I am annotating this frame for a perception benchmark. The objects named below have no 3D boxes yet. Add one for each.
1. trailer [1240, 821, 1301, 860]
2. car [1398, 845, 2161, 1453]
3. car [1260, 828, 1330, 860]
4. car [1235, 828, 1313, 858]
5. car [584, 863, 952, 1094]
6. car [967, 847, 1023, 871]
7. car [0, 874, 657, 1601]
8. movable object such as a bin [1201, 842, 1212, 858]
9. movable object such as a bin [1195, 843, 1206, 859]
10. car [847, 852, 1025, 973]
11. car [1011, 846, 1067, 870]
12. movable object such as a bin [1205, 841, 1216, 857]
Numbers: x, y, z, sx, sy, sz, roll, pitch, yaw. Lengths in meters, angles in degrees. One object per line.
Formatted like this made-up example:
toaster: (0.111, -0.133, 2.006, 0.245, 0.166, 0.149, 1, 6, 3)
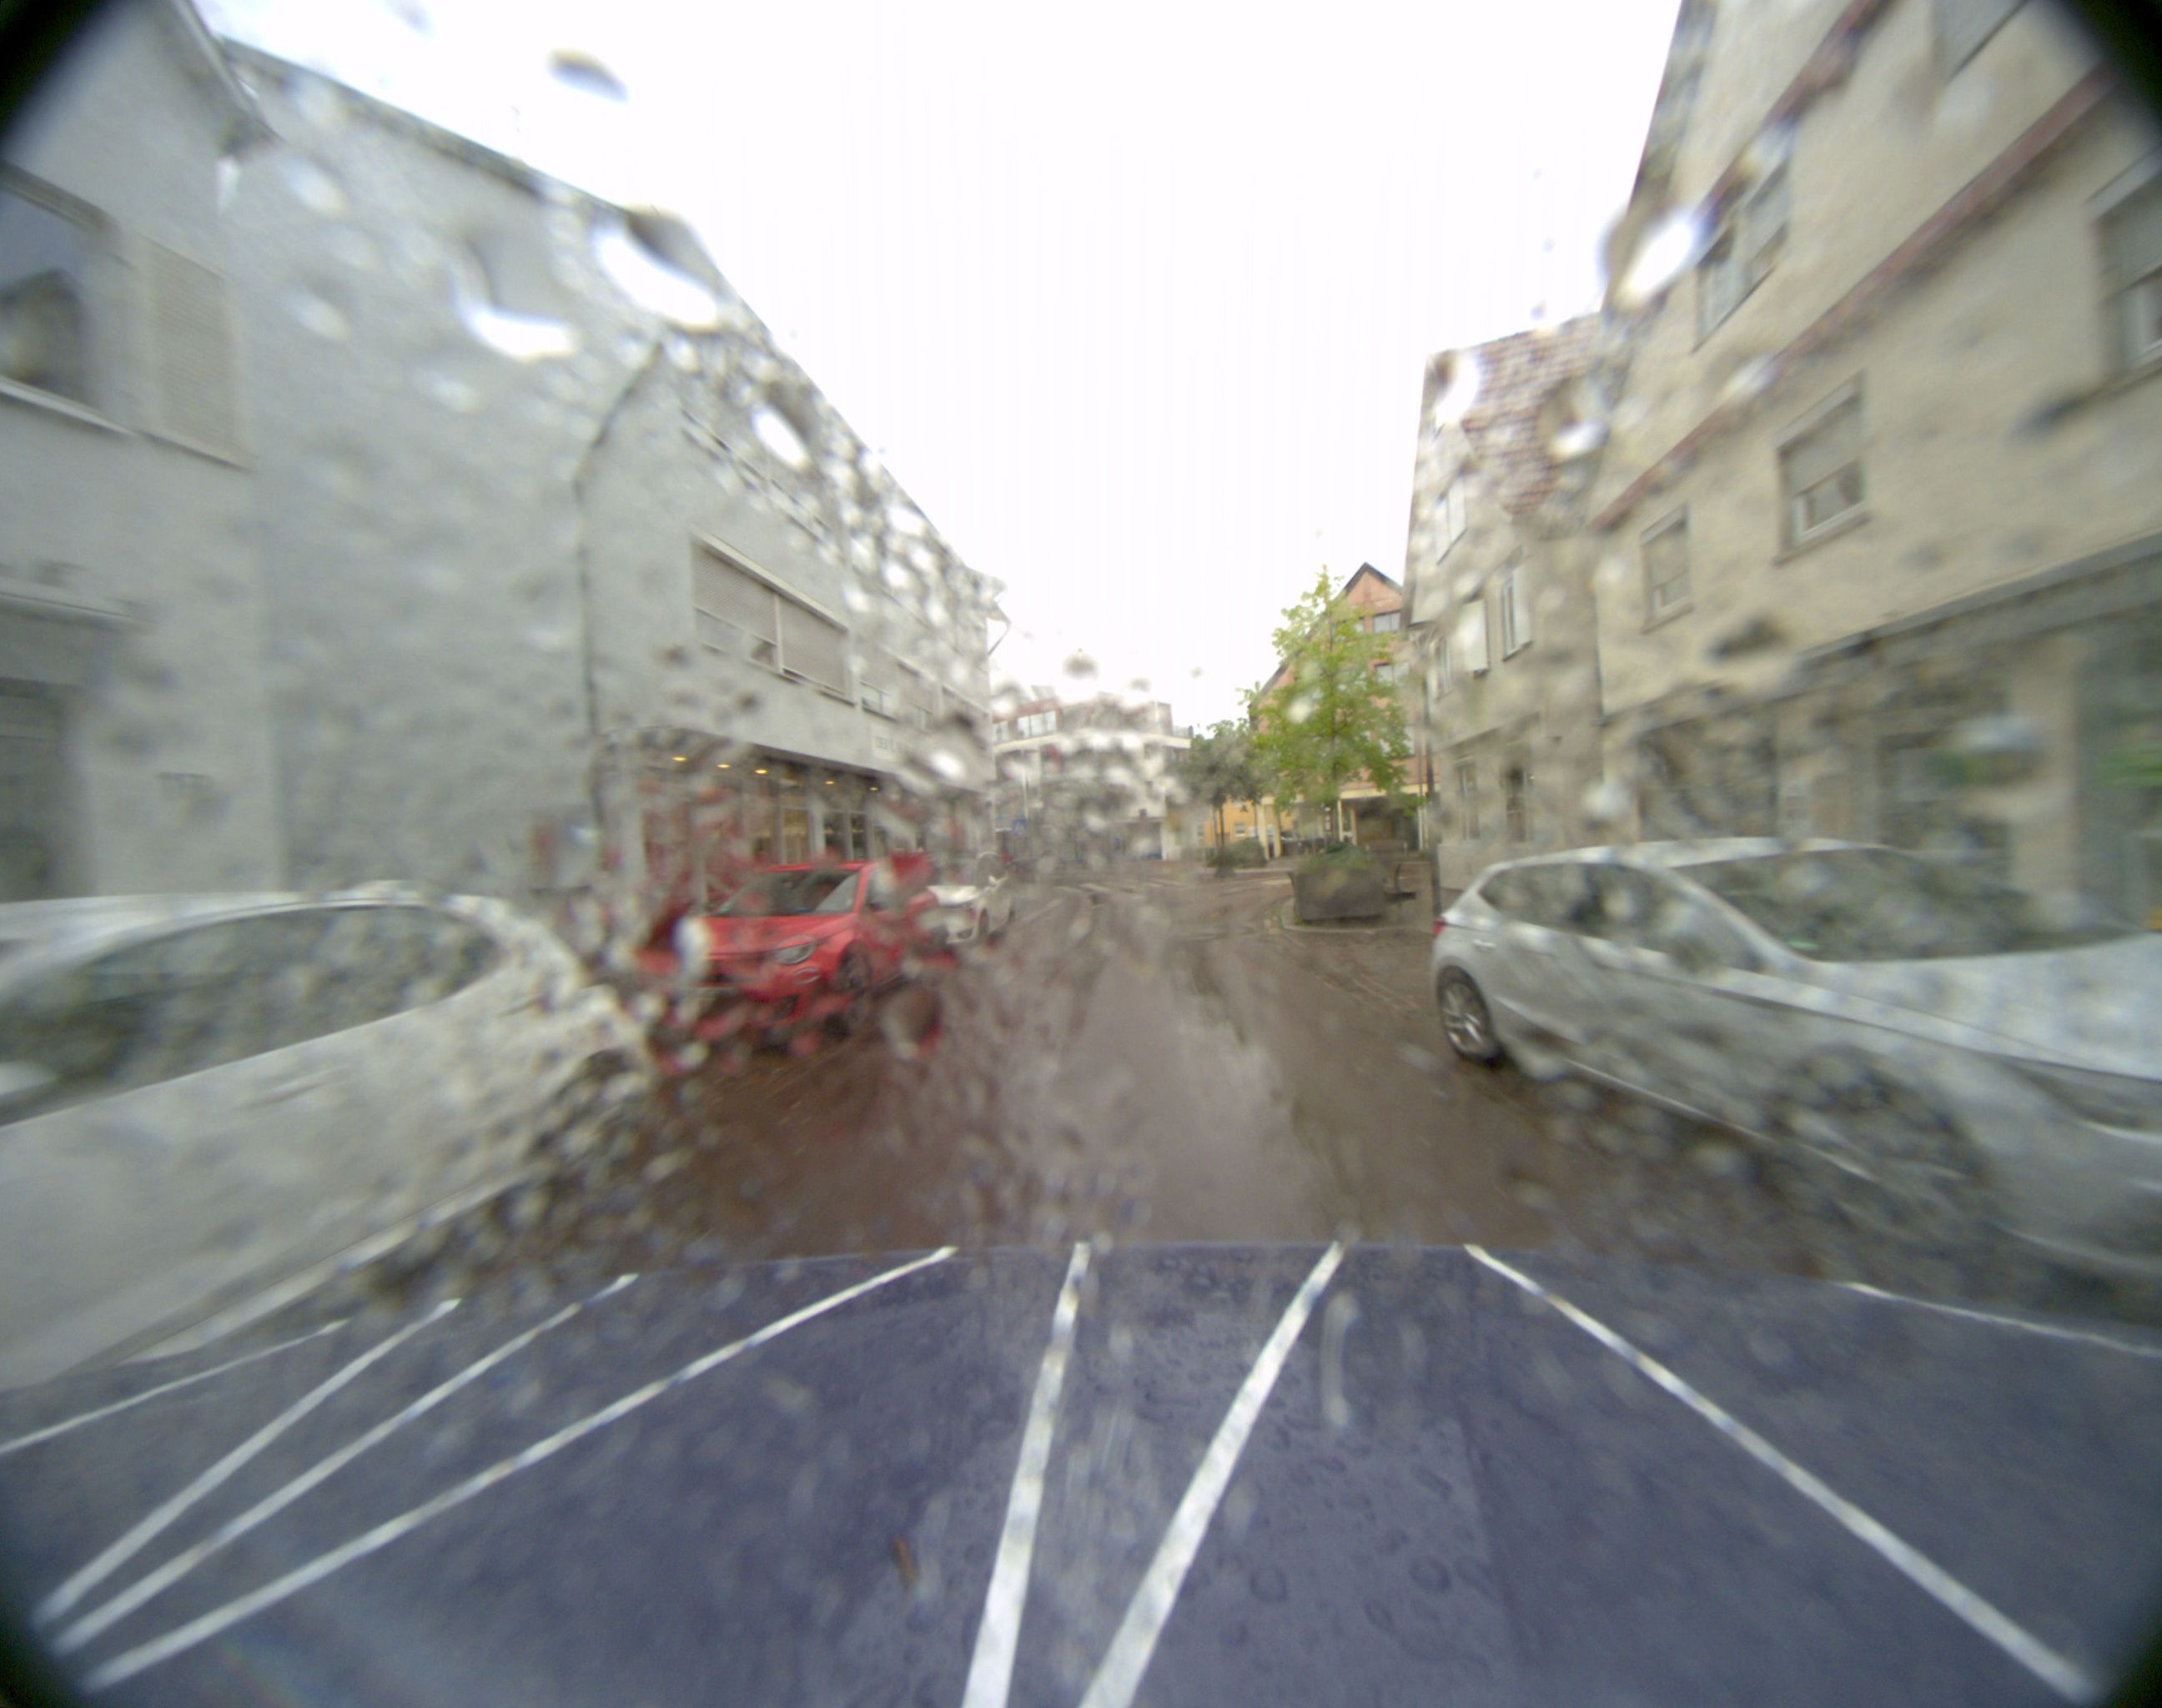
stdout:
trailer: (11.872, -0.826, 47.590, 3.086, 2.075, 1.839, -6, -1, 31)
car: (3.486, 0.751, 3.763, 1.854, 1.443, 4.071, -4, 0, -4)
car: (14.103, -0.647, 50.076, 3.991, 1.661, 1.839, -6, -2, 31)
car: (11.401, -0.662, 44.931, 3.989, 1.500, 1.839, -2, 3, 31)
car: (-2.711, 0.982, 7.721, 1.791, 1.460, 3.949, -3, 2, 4)
car: (-6.286, 0.394, 55.329, 3.910, 1.546, 1.806, -2, 3, 40)
car: (-3.339, 0.947, 2.090, 1.791, 1.546, 3.950, -2, 1, 5)
movable object such as a bin: (10.091, -0.350, 60.903, 0.630, 1.226, 0.524, -1, 4, 42)
movable object such as a bin: (9.457, -0.253, 60.216, 0.630, 1.226, 0.524, -1, 4, 42)
car: (-2.288, 0.857, 13.289, 1.791, 1.590, 4.441, -3, 1, 5)
car: (-2.893, 0.270, 51.805, 3.575, 1.428, 1.683, -1, 3, 42)
movable object such as a bin: (10.456, -0.379, 61.311, 0.630, 1.226, 0.524, -1, 4, 42)
